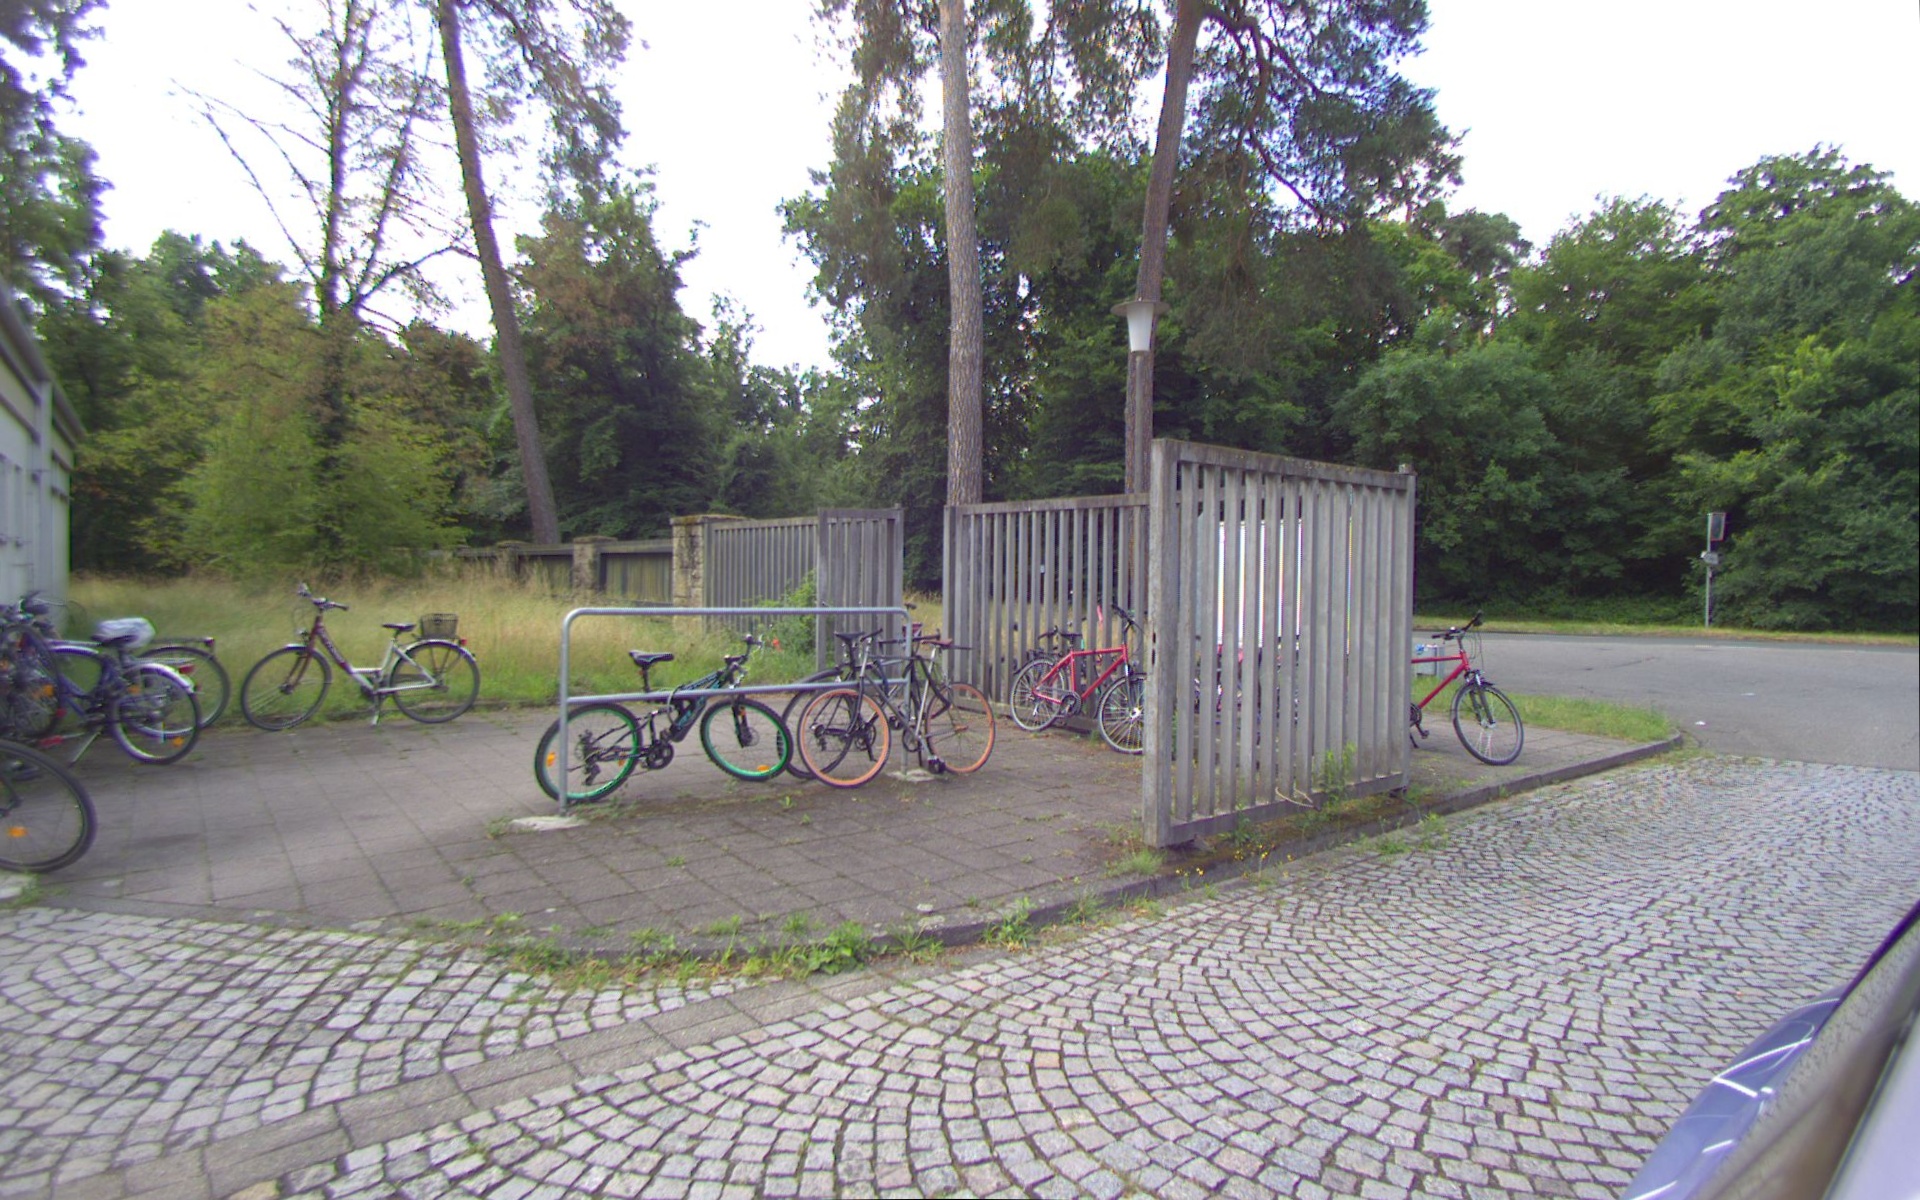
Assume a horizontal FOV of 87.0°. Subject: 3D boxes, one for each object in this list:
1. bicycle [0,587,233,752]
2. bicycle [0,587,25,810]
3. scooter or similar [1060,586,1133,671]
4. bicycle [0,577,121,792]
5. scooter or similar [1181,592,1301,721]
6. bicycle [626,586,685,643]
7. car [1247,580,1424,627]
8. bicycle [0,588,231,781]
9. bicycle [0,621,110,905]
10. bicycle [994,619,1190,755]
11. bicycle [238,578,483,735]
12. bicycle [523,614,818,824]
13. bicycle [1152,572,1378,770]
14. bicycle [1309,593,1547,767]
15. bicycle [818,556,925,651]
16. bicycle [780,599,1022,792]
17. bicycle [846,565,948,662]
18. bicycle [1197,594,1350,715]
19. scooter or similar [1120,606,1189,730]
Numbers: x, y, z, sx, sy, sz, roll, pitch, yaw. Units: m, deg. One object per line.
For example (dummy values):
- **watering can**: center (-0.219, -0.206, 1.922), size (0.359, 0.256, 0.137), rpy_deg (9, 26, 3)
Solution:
- **bicycle**: center (-6.206, 0.465, 7.262), size (1.568, 1.097, 0.435), rpy_deg (0, 2, -41)
- **bicycle**: center (-5.916, 0.505, 5.607), size (1.634, 1.185, 0.433), rpy_deg (2, 3, 23)
- **scooter or similar**: center (2.157, 0.428, 16.026), size (0.431, 1.243, 1.088), rpy_deg (-2, 4, -44)
- **bicycle**: center (-5.984, 0.465, 6.162), size (1.628, 1.185, 0.435), rpy_deg (2, 3, 13)
- **scooter or similar**: center (2.983, 0.569, 10.853), size (0.378, 1.261, 1.285), rpy_deg (1, 2, -32)
- **bicycle**: center (-6.007, 0.257, 19.897), size (0.367, 1.029, 1.951), rpy_deg (0, 2, -39)
- **car**: center (12.332, 0.073, 33.616), size (5.340, 1.395, 1.989), rpy_deg (2, 1, 18)
- **bicycle**: center (-5.765, 0.534, 6.719), size (1.624, 1.132, 0.436), rpy_deg (3, 3, 6)
- **bicycle**: center (-4.435, 0.655, 3.959), size (1.683, 1.086, 0.731), rpy_deg (0, 2, -40)
- **bicycle**: center (1.102, 0.705, 8.925), size (0.449, 0.980, 1.951), rpy_deg (0, 2, -38)
- **bicycle**: center (-4.840, 0.425, 8.279), size (1.689, 1.185, 0.437), rpy_deg (0, 2, -27)
- **bicycle**: center (-1.740, 0.648, 6.184), size (1.566, 1.070, 0.731), rpy_deg (0, 2, -40)
- **bicycle**: center (2.469, 0.500, 8.437), size (0.506, 1.434, 1.908), rpy_deg (-1, 3, -34)
- **bicycle**: center (4.081, 0.636, 8.942), size (0.661, 1.293, 1.737), rpy_deg (0, 4, -43)
- **bicycle**: center (-1.393, 0.043, 16.325), size (0.574, 1.435, 1.958), rpy_deg (2, 1, 35)
- **bicycle**: center (-0.371, 0.611, 7.064), size (1.685, 1.185, 0.502), rpy_deg (1, 1, -40)
- **bicycle**: center (-0.960, 0.205, 15.892), size (0.585, 1.435, 1.776), rpy_deg (2, 0, 35)
- **bicycle**: center (3.432, 0.565, 11.208), size (0.610, 1.177, 1.613), rpy_deg (2, 1, -28)
- **scooter or similar**: center (2.008, 0.655, 10.354), size (0.433, 1.165, 1.243), rpy_deg (1, 1, 23)
